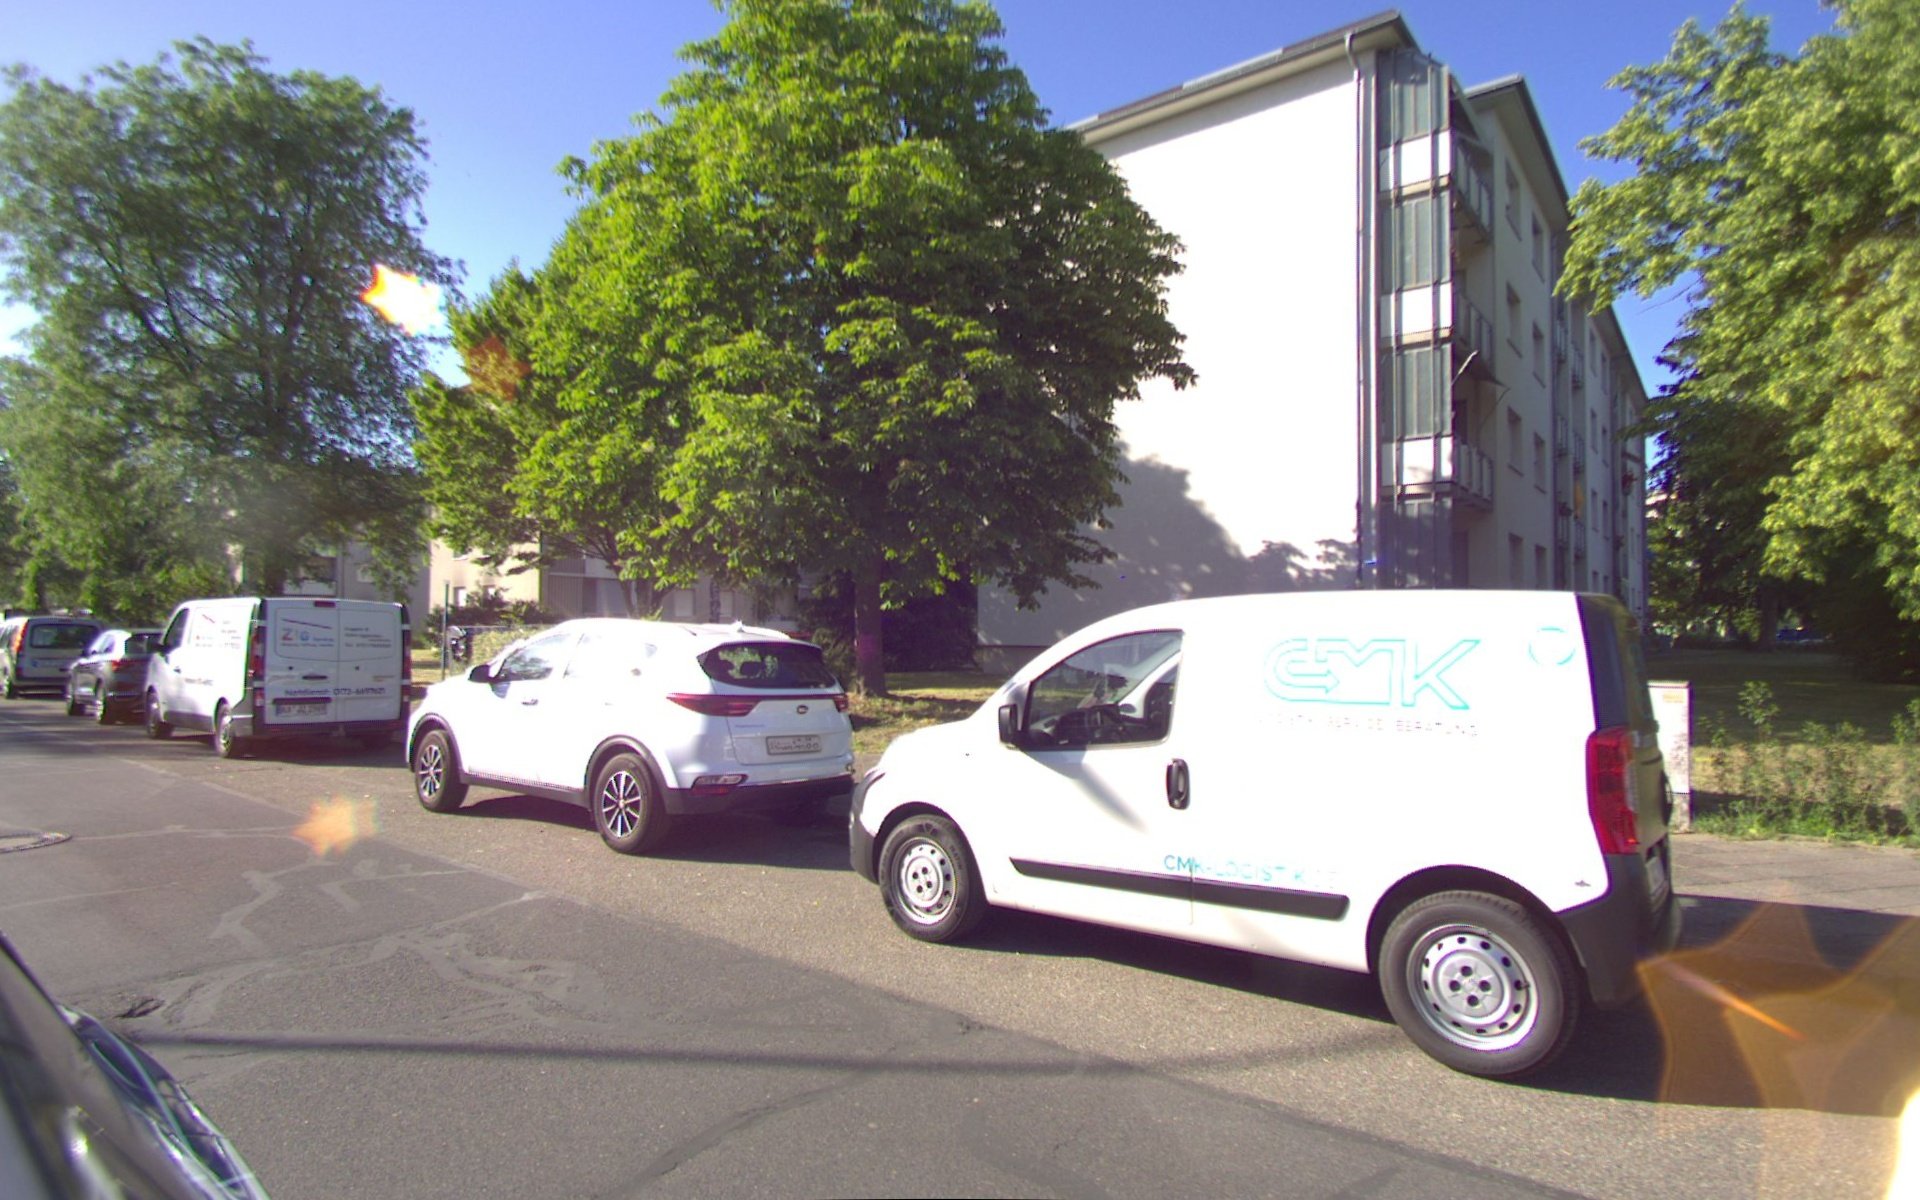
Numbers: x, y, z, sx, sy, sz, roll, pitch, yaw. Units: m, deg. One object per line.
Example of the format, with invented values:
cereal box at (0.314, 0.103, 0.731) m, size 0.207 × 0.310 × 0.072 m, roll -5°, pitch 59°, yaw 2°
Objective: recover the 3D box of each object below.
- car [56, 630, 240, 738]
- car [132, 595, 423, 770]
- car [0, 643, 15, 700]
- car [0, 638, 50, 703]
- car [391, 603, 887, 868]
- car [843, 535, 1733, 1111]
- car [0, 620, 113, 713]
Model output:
car at (-14.028, 1.398, 17.425) m, size 3.809 × 1.652 × 1.710 m, roll -2°, pitch -5°, yaw 40°
car at (-9.199, 1.056, 13.515) m, size 4.505 × 1.956 × 1.886 m, roll -2°, pitch -5°, yaw 39°
car at (-29.626, 2.083, 30.074) m, size 3.550 × 1.641 × 1.613 m, roll -2°, pitch -5°, yaw 38°
car at (-25.550, 1.827, 26.684) m, size 3.550 × 1.641 × 1.613 m, roll -2°, pitch -5°, yaw 38°
car at (-2.751, 0.961, 8.302) m, size 4.161 × 1.652 × 1.712 m, roll -2°, pitch -5°, yaw 36°
car at (1.380, 0.764, 4.857) m, size 3.643 × 1.695 × 1.795 m, roll -2°, pitch -5°, yaw 38°
car at (-21.092, 1.509, 23.201) m, size 3.807 × 1.968 × 1.711 m, roll -2°, pitch -5°, yaw 38°
